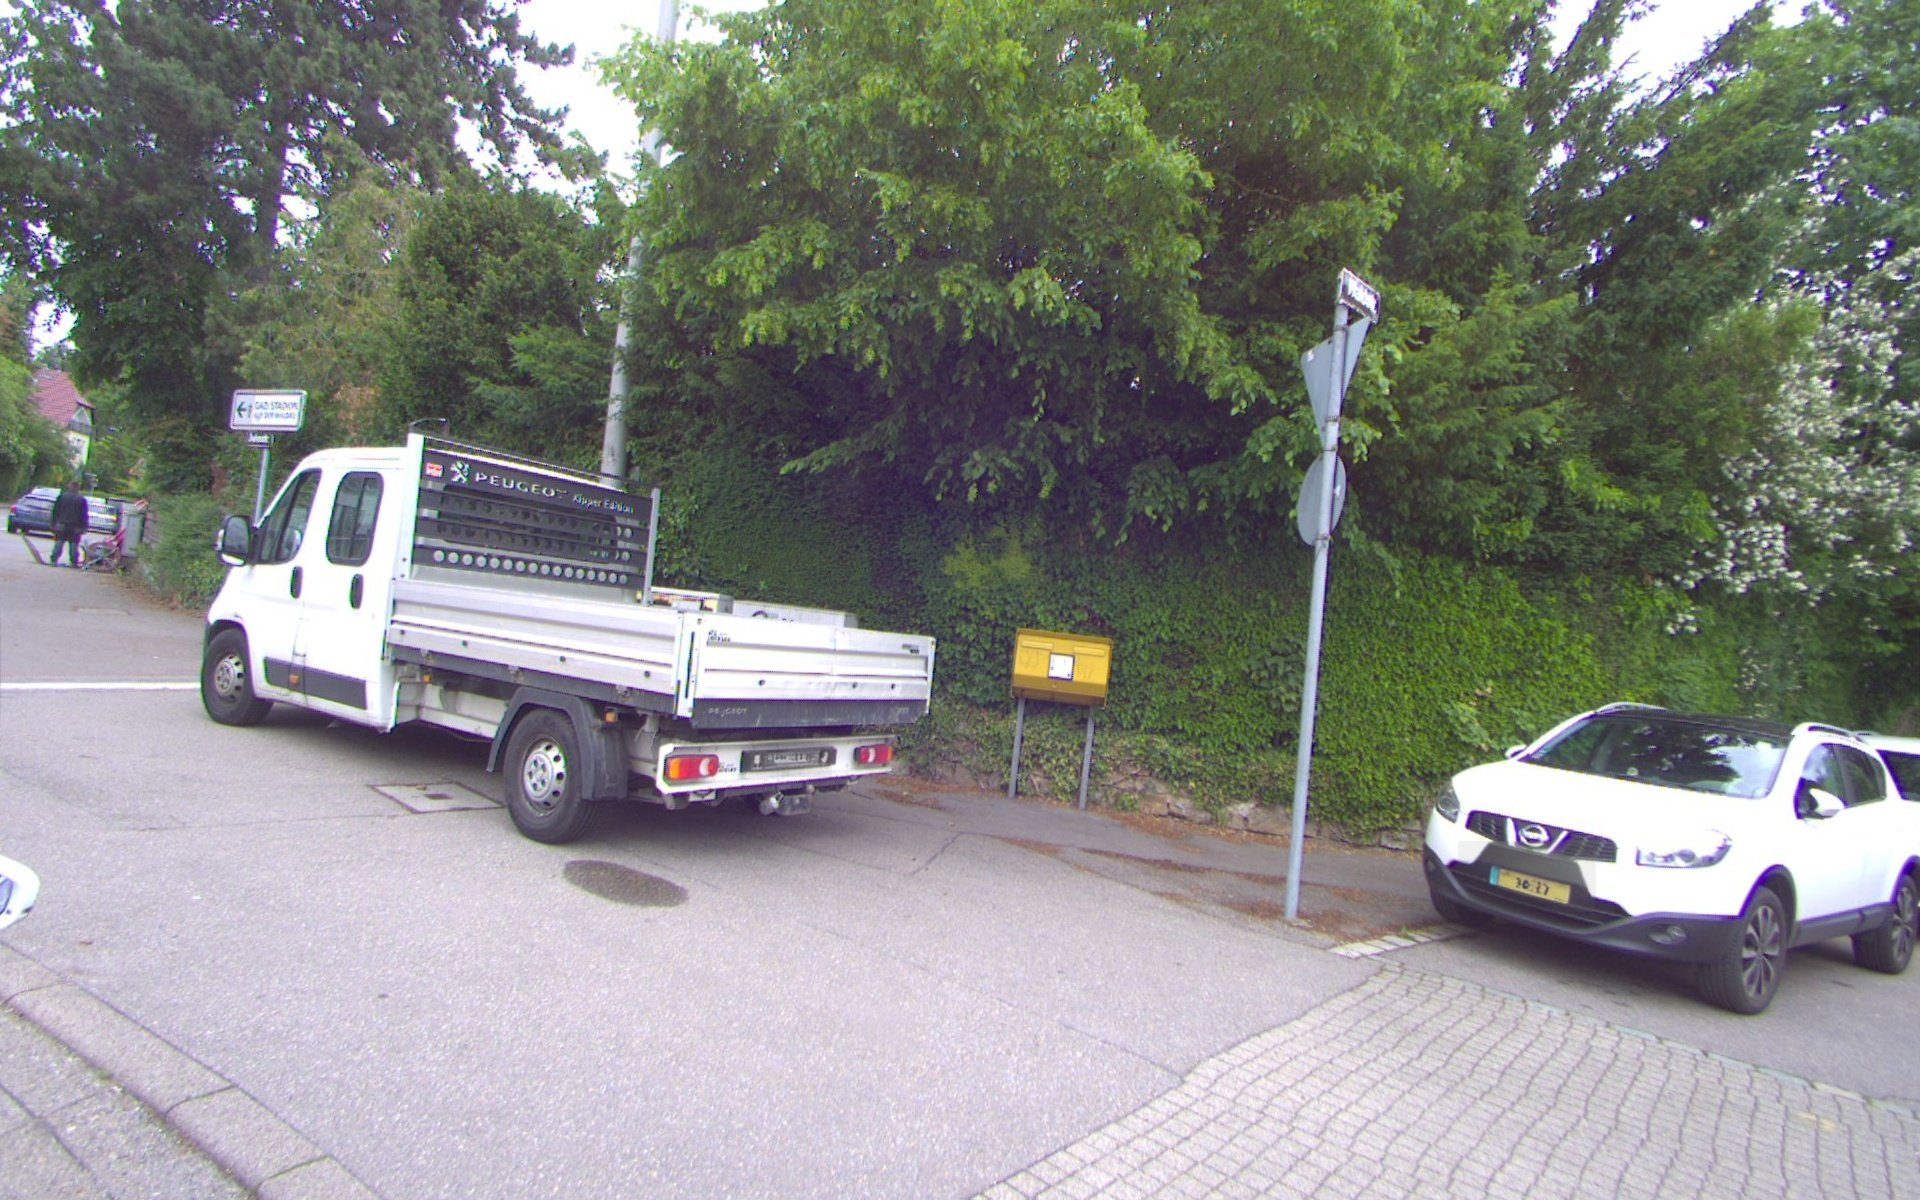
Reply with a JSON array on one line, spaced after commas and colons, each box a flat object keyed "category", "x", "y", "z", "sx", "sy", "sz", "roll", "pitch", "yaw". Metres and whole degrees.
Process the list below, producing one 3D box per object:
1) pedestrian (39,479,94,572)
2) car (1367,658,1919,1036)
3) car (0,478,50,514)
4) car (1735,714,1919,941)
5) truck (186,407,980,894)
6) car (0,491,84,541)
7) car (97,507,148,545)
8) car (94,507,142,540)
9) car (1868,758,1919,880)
[{"category": "pedestrian", "x": -19.606, "y": -1.631, "z": 22.073, "sx": 0.549, "sy": 1.929, "sz": 0.597, "roll": 7, "pitch": -1, "yaw": 32}, {"category": "car", "x": 4.768, "y": 1.469, "z": 6.642, "sx": 4.098, "sy": 1.641, "sz": 1.783, "roll": 9, "pitch": -2, "yaw": -34}, {"category": "car", "x": -61.906, "y": -6.825, "z": 66.488, "sx": 1.901, "sy": 1.903, "sz": 5.092, "roll": 6, "pitch": -1, "yaw": -36}, {"category": "car", "x": 9.048, "y": 2.115, "z": 9.455, "sx": 4.041, "sy": 1.641, "sz": 1.781, "roll": 9, "pitch": -3, "yaw": -38}, {"category": "truck", "x": -2.932, "y": 0.084, "z": 7.149, "sx": 5.631, "sy": 2.270, "sz": 2.211, "roll": 6, "pitch": -2, "yaw": 34}, {"category": "car", "x": -34.978, "y": -3.177, "z": 38.392, "sx": 1.790, "sy": 1.545, "sz": 4.697, "roll": 7, "pitch": 0, "yaw": -36}, {"category": "car", "x": -51.805, "y": -4.602, "z": 62.274, "sx": 1.910, "sy": 1.915, "sz": 4.859, "roll": 10, "pitch": -2, "yaw": -36}, {"category": "car", "x": -43.922, "y": -3.991, "z": 52.532, "sx": 1.686, "sy": 1.448, "sz": 3.709, "roll": 7, "pitch": 0, "yaw": -38}, {"category": "car", "x": 13.828, "y": 3.021, "z": 13.465, "sx": 4.040, "sy": 1.440, "sz": 1.781, "roll": 8, "pitch": -2, "yaw": -38}]
